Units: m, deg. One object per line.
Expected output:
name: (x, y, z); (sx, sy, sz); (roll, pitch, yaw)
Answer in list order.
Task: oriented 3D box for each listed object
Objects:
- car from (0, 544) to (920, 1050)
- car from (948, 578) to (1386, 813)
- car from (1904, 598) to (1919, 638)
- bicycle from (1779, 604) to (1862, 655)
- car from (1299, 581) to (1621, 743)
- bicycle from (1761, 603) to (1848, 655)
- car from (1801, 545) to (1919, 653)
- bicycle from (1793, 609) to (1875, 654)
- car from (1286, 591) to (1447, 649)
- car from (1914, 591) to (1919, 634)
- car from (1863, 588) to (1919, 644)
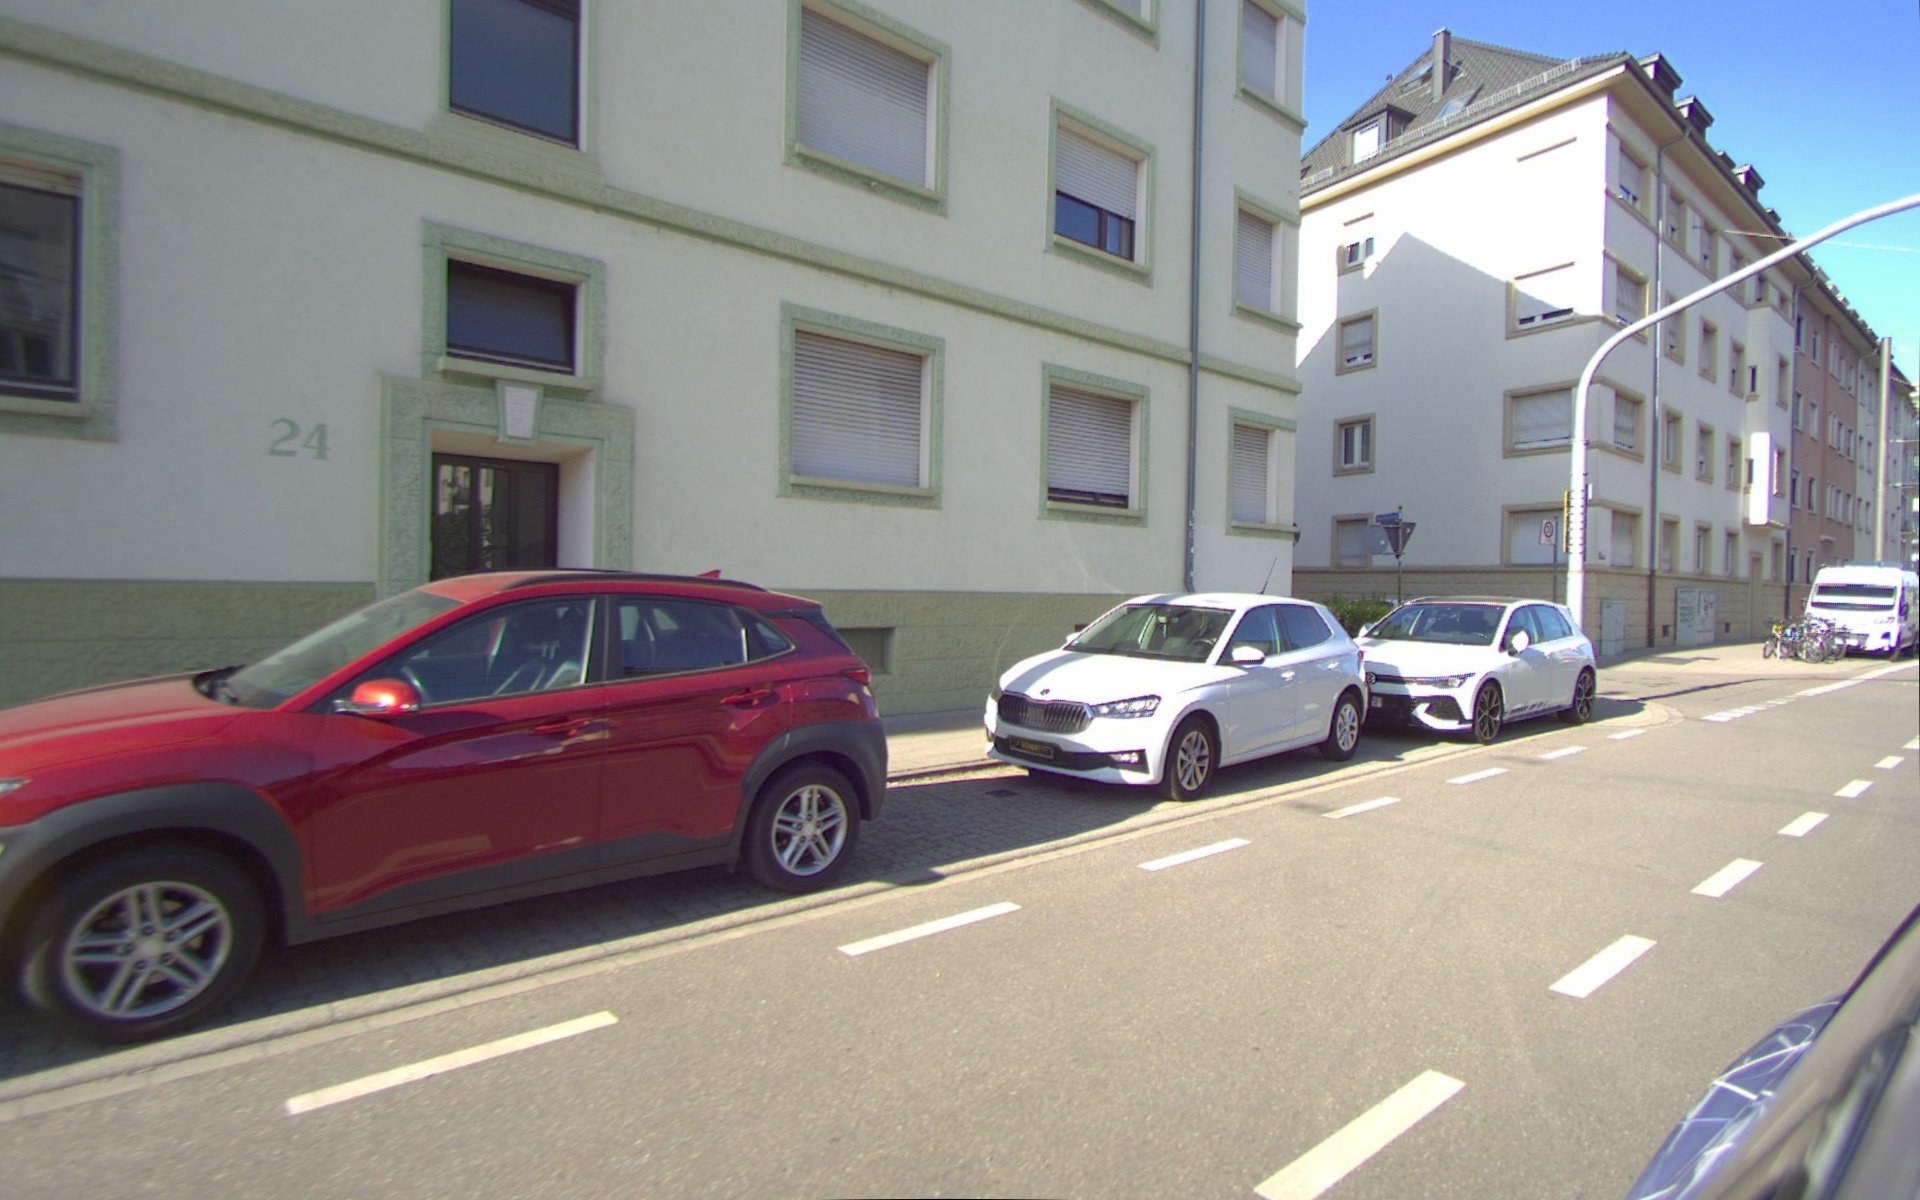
car: (-2.315, 0.576, 4.635); (4.114, 1.536, 1.639); (0, 2, -40)
car: (1.915, 0.606, 8.503); (4.015, 1.476, 1.637); (0, 2, -45)
car: (37.336, 0.718, 38.394); (3.981, 1.478, 1.626); (1, 3, -39)
bicycle: (21.259, 0.706, 25.051); (0.465, 1.100, 1.917); (-2, 2, 2)
car: (5.809, 0.581, 11.524); (4.301, 1.476, 1.698); (0, 2, -40)
bicycle: (20.310, 0.681, 24.383); (0.465, 1.100, 1.917); (4, 2, 2)
car: (25.853, -0.062, 28.565); (6.181, 2.729, 2.155); (0, 3, -41)
bicycle: (22.047, 0.778, 25.583); (0.478, 1.101, 2.024); (-1, -1, 7)
car: (10.723, 0.537, 26.947); (1.678, 1.442, 3.744); (0, -1, -30)
car: (40.949, 0.570, 41.832); (4.414, 1.718, 1.804); (1, 4, -43)
car: (30.935, 0.505, 32.938); (4.497, 1.657, 1.850); (0, 2, -43)
